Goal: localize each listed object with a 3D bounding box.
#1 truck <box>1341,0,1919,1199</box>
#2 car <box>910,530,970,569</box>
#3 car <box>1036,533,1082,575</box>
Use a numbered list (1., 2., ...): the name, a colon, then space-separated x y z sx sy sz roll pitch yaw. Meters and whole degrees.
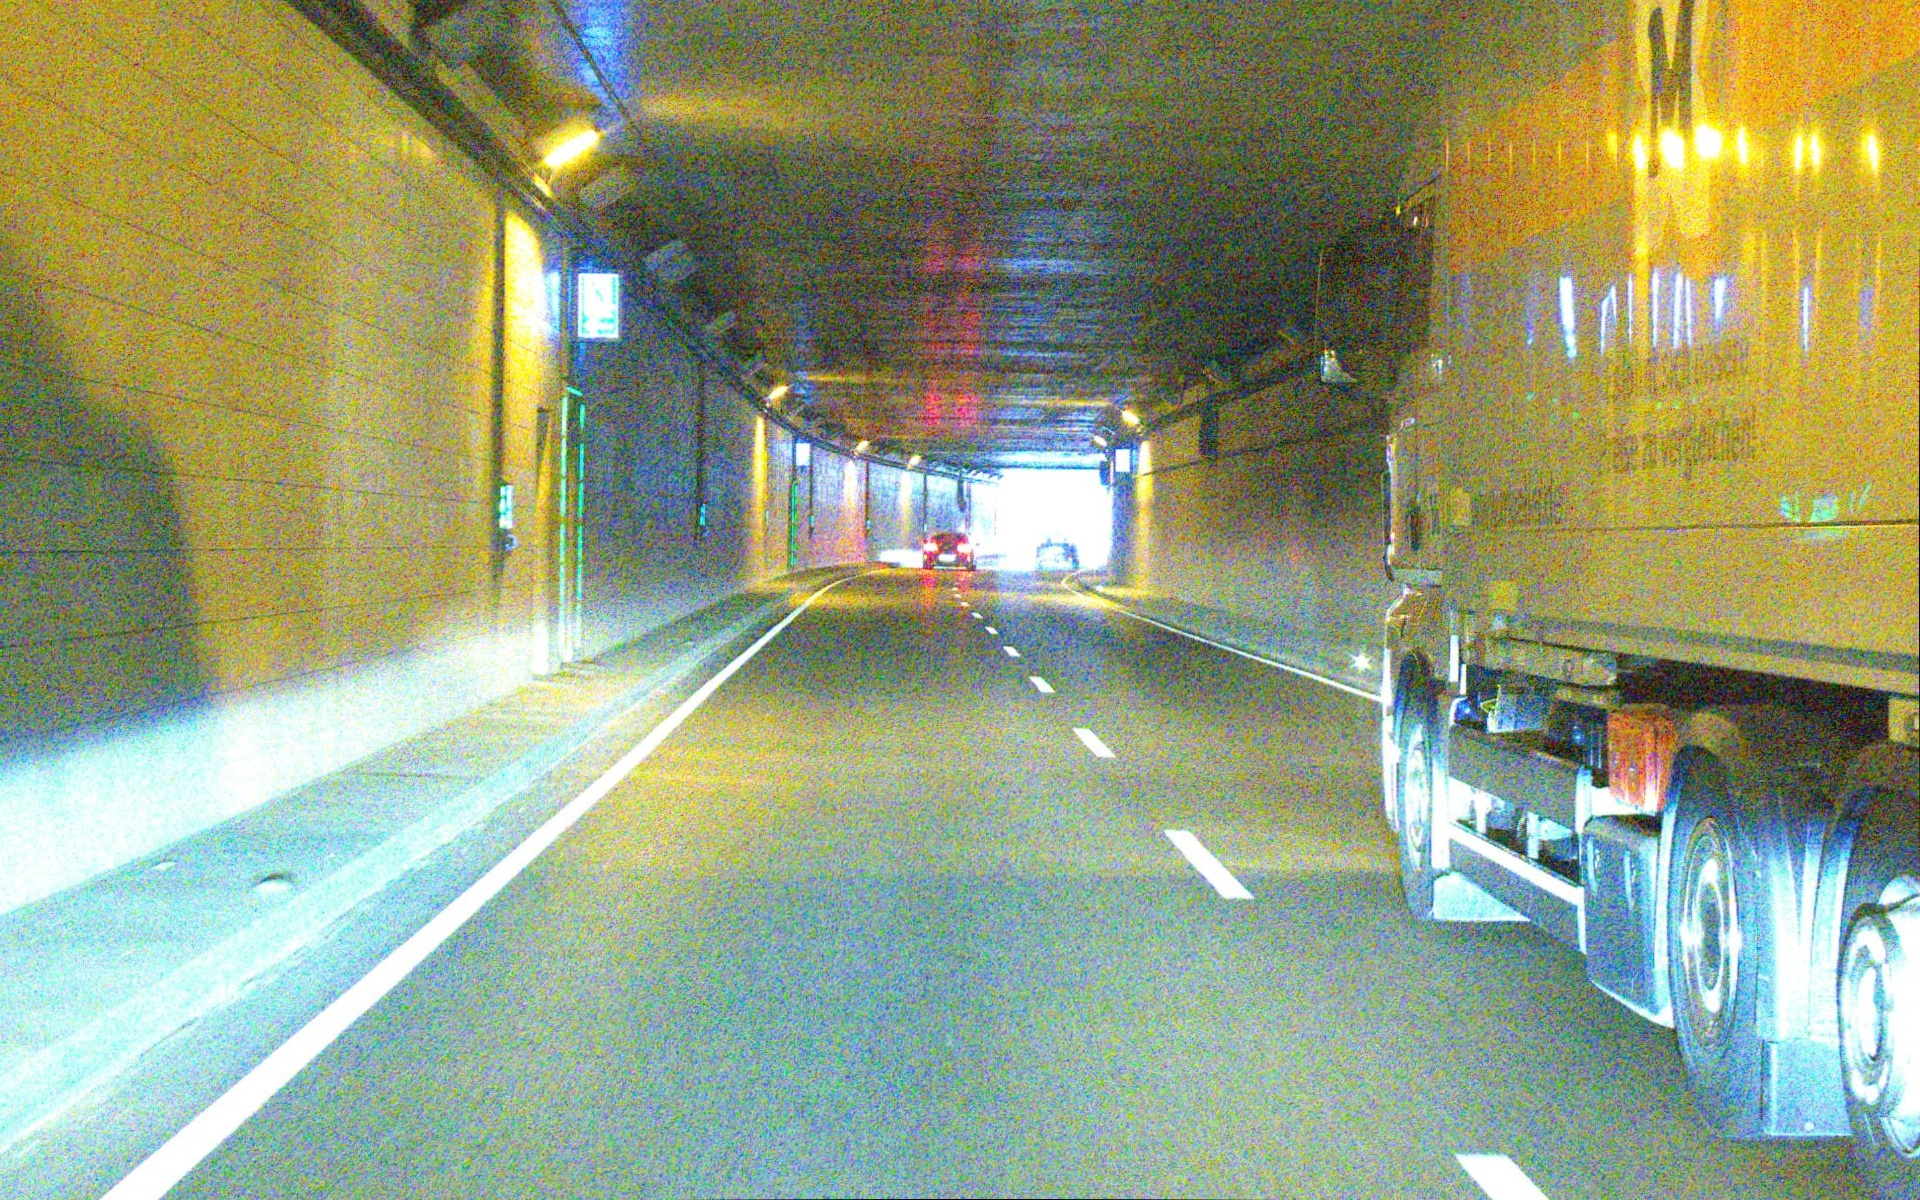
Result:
1. truck: 3.137 -0.626 9.859 2.889 3.900 9.909 1 1 0
2. car: -0.716 -1.833 125.051 1.841 1.384 3.999 1 1 4
3. car: 4.165 -1.932 144.309 1.869 1.726 4.000 1 1 2
